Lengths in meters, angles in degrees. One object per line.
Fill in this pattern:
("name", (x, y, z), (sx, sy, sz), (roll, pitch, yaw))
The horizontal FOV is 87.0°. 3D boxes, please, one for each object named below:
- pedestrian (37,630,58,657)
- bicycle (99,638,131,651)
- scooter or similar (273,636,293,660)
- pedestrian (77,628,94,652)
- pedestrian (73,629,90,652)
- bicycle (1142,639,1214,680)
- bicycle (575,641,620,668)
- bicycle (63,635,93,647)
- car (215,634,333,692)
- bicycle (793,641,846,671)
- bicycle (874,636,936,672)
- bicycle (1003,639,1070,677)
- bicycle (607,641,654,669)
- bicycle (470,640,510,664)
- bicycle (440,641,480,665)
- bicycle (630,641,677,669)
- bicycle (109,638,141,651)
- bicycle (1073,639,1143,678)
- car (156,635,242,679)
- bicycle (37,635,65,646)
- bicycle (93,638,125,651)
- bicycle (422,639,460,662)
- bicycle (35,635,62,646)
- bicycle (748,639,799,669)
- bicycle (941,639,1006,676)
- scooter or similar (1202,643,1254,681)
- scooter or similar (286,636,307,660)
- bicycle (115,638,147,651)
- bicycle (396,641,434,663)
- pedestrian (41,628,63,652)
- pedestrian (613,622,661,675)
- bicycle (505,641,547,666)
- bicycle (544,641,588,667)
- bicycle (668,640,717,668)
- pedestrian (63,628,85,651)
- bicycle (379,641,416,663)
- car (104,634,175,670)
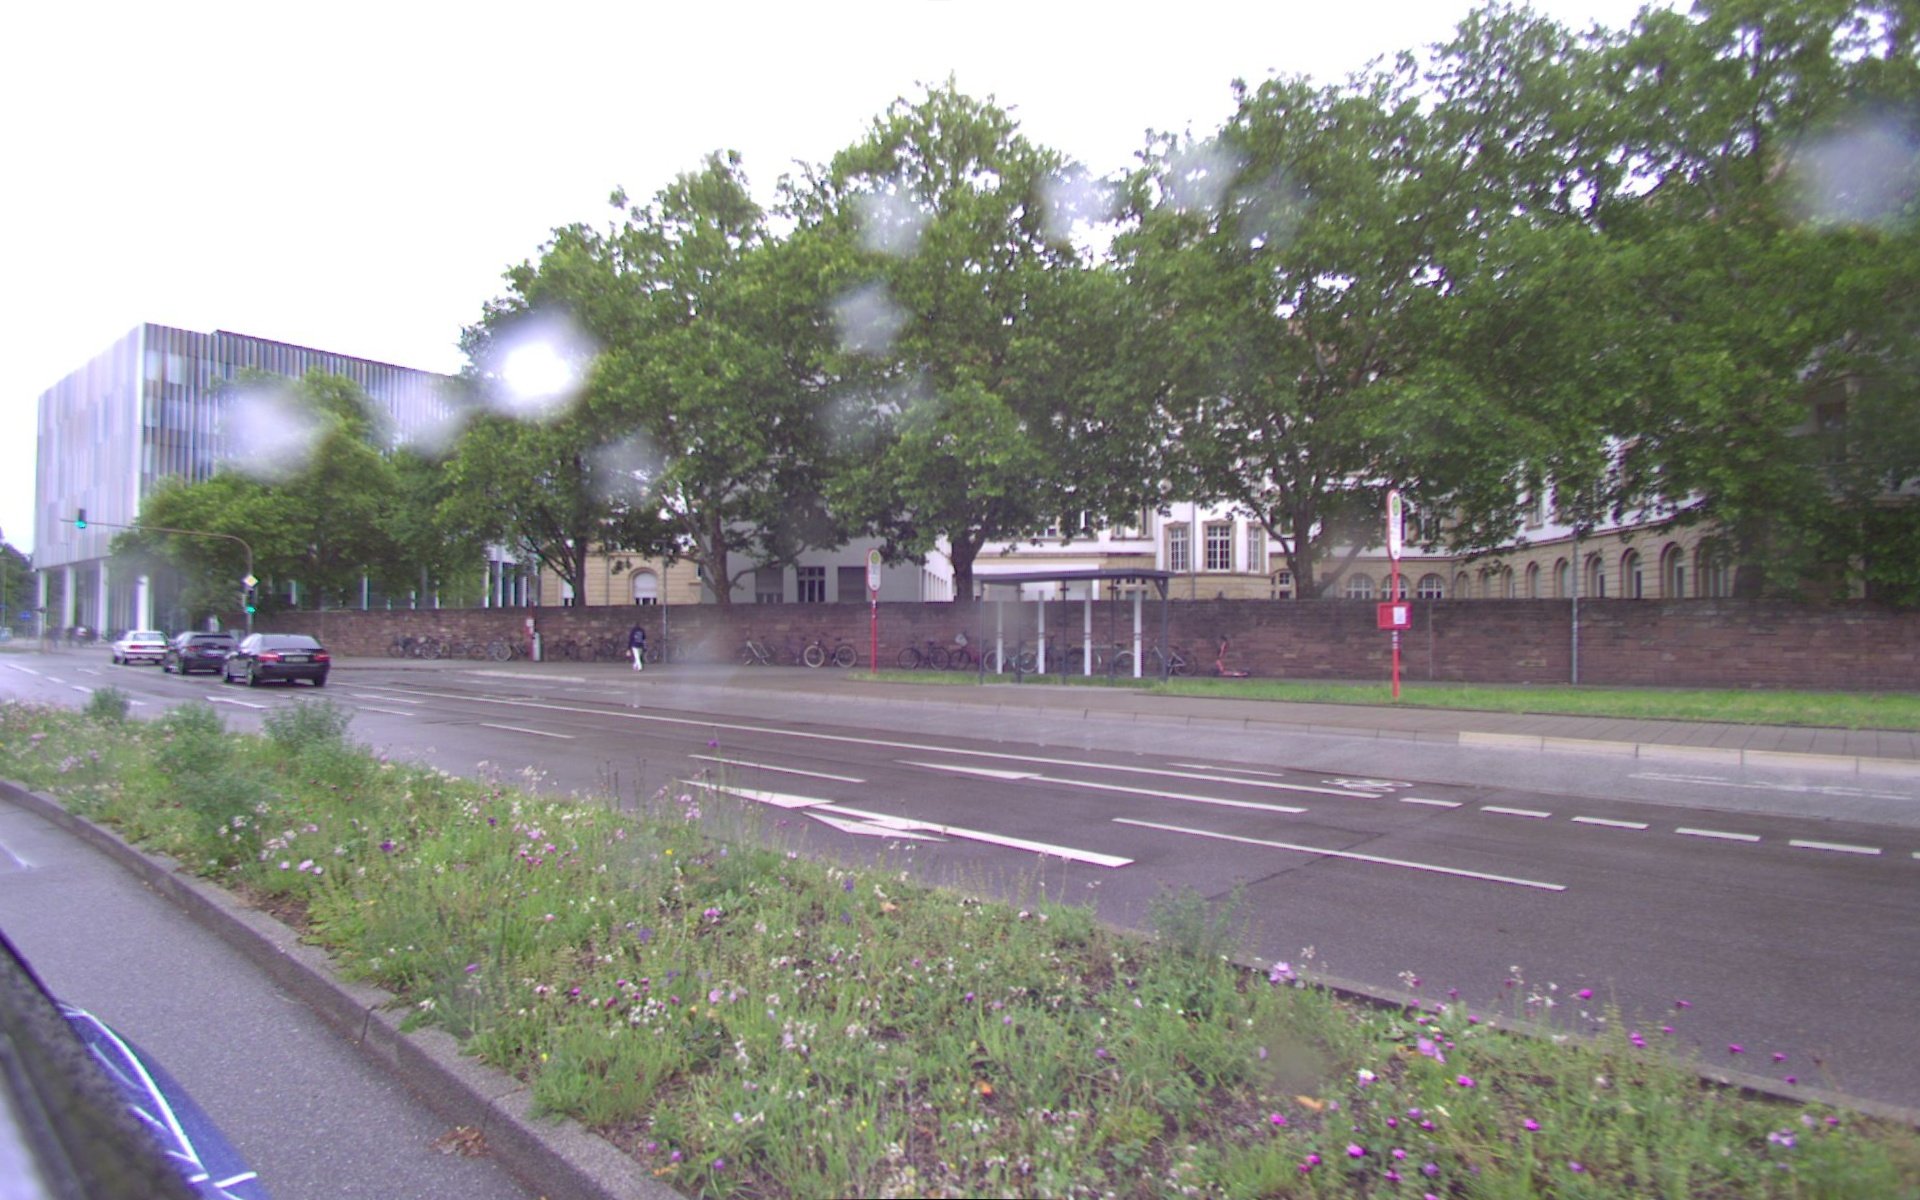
("pedestrian", (-62.901, 2.966, 69.767), (0.789, 1.838, 0.782), (-1, -2, 18))
("bicycle", (-80.499, 4.242, 96.448), (0.596, 1.231, 2.264), (-1, -2, 28))
("scooter or similar", (-35.704, 2.532, 53.360), (1.140, 1.206, 0.387), (-1, 4, 37))
("pedestrian", (-68.066, 3.117, 78.778), (0.619, 1.838, 0.782), (-1, -2, 18))
("pedestrian", (-68.836, 3.177, 79.301), (0.619, 1.838, 0.782), (-1, -2, 18))
("bicycle", (6.340, 1.719, 29.474), (1.980, 1.144, 0.570), (-1, -2, 26))
("bicycle", (-13.973, 2.083, 39.052), (1.695, 0.990, 0.726), (-1, -2, 31))
("bicycle", (-91.113, 4.212, 104.586), (2.250, 1.231, 0.600), (2, -3, -40))
("car", (-19.860, 1.784, 29.234), (4.703, 1.552, 1.788), (-2, -4, 43))
("bicycle", (-4.704, 1.862, 33.921), (1.695, 0.990, 0.726), (-1, -2, 31))
("bicycle", (-1.785, 1.730, 32.765), (1.977, 1.144, 0.570), (-1, -2, 22))
("bicycle", (2.340, 1.759, 31.058), (1.980, 1.144, 0.570), (-1, -2, 26))
("bicycle", (-12.450, 2.067, 38.229), (1.695, 0.990, 0.726), (-1, -2, 31))
("bicycle", (-19.706, 2.164, 42.426), (1.695, 0.990, 0.726), (-1, -2, 31))
("bicycle", (-21.394, 2.248, 43.263), (1.860, 0.990, 0.725), (-1, -2, 35))
("bicycle", (-11.337, 2.037, 37.463), (1.695, 0.990, 0.726), (-1, -2, 31))
("bicycle", (-79.102, 4.221, 95.923), (0.596, 1.231, 2.264), (-1, -2, 28))
("bicycle", (4.383, 1.720, 30.080), (1.980, 1.144, 0.570), (-1, -2, 26))
("car", (-26.442, 1.965, 35.108), (4.065, 1.426, 1.606), (-2, -4, 42))
("bicycle", (-99.928, 4.470, 111.295), (2.250, 1.231, 0.600), (2, -3, -40))
("bicycle", (-81.500, 4.262, 96.961), (0.596, 1.231, 2.264), (-1, -2, 28))
("bicycle", (-22.973, 2.213, 44.772), (1.695, 0.990, 0.726), (-1, -2, 31))
("bicycle", (-102.366, 4.560, 113.651), (2.250, 1.231, 0.600), (2, -3, -40))
("bicycle", (-6.470, 1.864, 35.021), (1.695, 0.990, 0.726), (-1, -2, 31))
("bicycle", (0.411, 1.788, 31.781), (1.977, 1.144, 0.570), (-1, -2, 22))
("scooter or similar", (7.659, 1.755, 28.891), (1.354, 1.055, 0.569), (-1, -2, 26))
("scooter or similar", (-34.256, 2.489, 52.241), (1.139, 1.206, 0.387), (-2, 4, 35))
("bicycle", (-78.427, 4.214, 95.770), (0.596, 1.231, 2.264), (-1, -2, 28))
("bicycle", (-24.519, 2.336, 45.539), (1.695, 0.990, 0.726), (-1, -2, 31))
("pedestrian", (-70.903, 3.096, 79.029), (0.914, 1.838, 0.936), (-1, -2, 11))
("pedestrian", (-10.622, 1.571, 33.269), (1.397, 1.708, 0.861), (-2, -2, 35))
("bicycle", (-17.779, 2.177, 41.446), (1.695, 0.990, 0.726), (-1, -2, 31))
("bicycle", (-15.517, 2.116, 39.866), (1.695, 0.990, 0.726), (-1, -2, 31))
("bicycle", (-9.515, 1.908, 35.977), (1.695, 0.990, 0.726), (-1, -2, 31))
("pedestrian", (-69.879, 3.122, 79.783), (0.916, 1.838, 0.934), (-1, -2, 18))
("bicycle", (-26.051, 2.387, 46.861), (1.695, 0.990, 0.726), (-1, -2, 31))
("car", (-34.422, 2.159, 42.423), (4.523, 1.426, 1.579), (-2, -4, 42))
